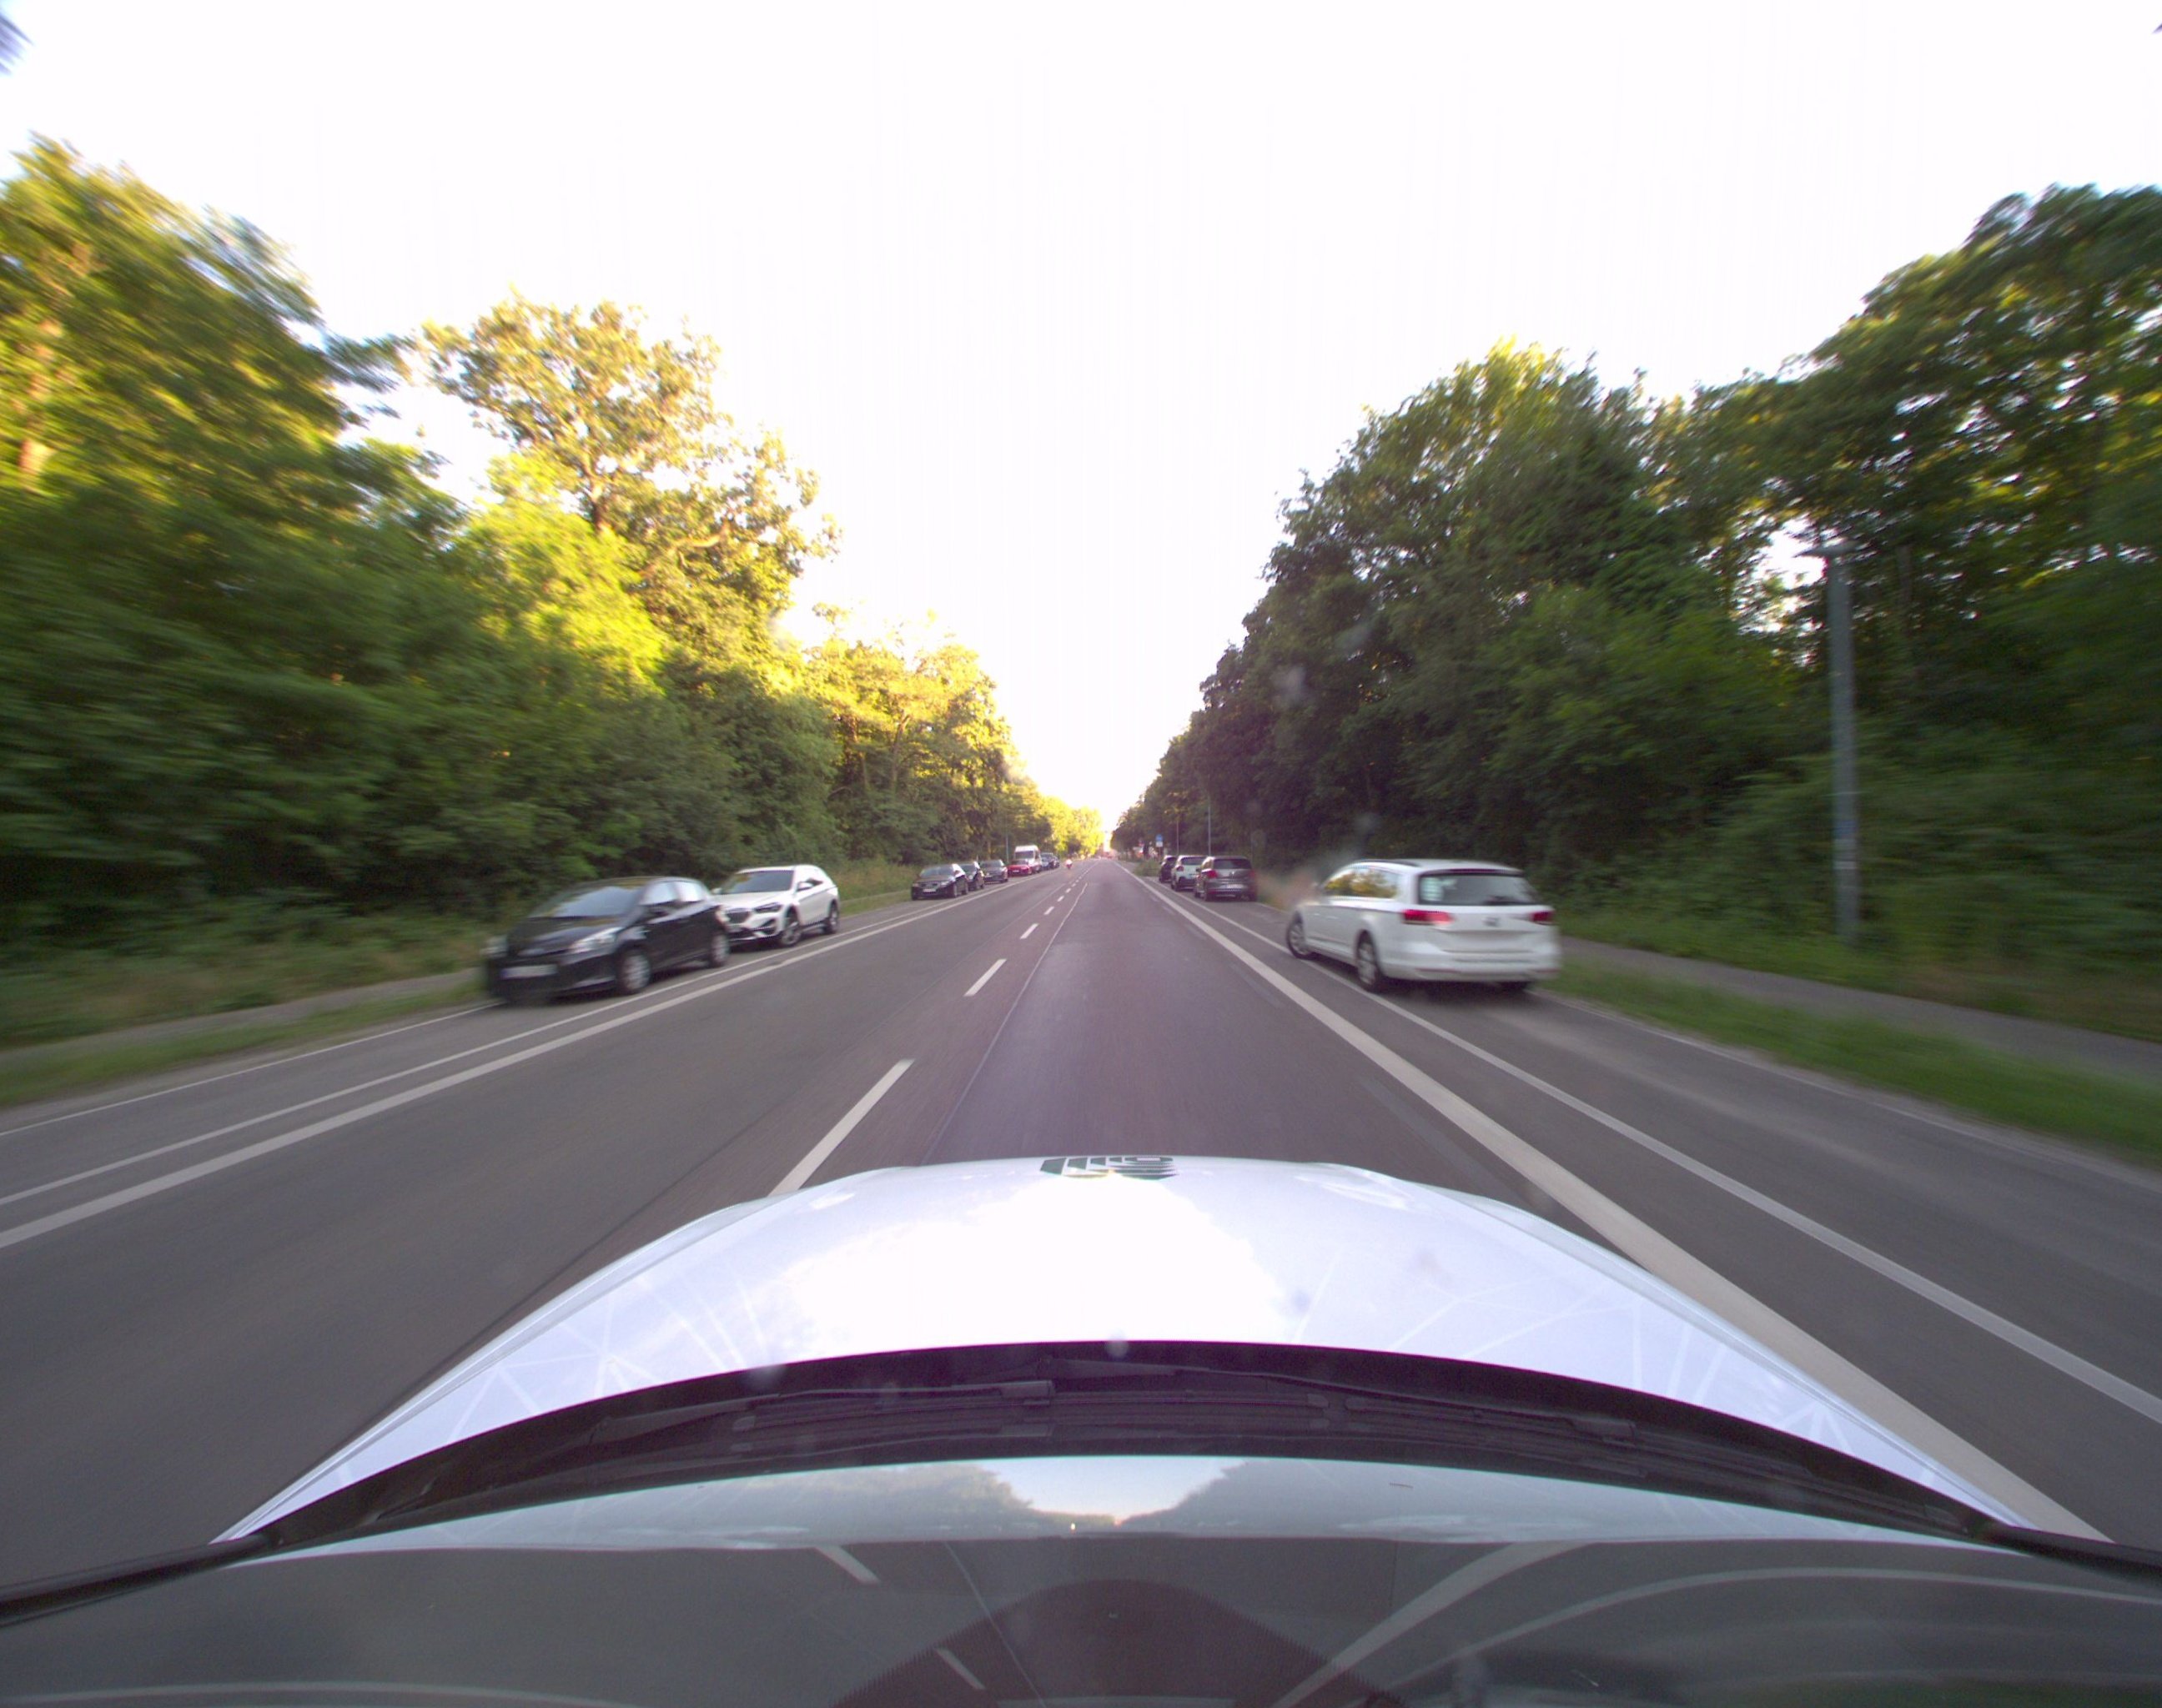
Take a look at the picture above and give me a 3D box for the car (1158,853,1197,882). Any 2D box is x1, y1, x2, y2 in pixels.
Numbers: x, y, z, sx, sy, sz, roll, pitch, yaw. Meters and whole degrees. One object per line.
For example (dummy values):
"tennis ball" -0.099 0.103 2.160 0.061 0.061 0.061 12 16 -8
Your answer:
"car" 5.173 0.705 44.015 1.704 1.444 4.124 -1 0 2

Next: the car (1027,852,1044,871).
"car" -4.831 0.792 86.832 1.682 1.858 4.385 -1 0 -1

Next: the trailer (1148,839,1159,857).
"trailer" 22.232 -1.763 251.296 3.008 5.462 7.940 -1 -1 3

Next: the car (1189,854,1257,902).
"car" 4.676 0.740 27.235 1.573 1.446 3.961 -2 0 1

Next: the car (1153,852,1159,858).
"car" 21.815 0.309 237.470 1.761 1.583 4.826 0 -1 6

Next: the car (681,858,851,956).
"car" -6.363 0.974 17.056 1.690 1.646 4.572 -3 0 0

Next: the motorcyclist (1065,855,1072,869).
"motorcyclist" -1.361 0.934 90.826 0.601 1.529 0.996 -2 0 4

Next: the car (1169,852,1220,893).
"car" 4.686 0.736 34.186 1.682 1.546 4.114 -2 0 2

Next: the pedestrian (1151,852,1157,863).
"pedestrian" 12.029 0.638 134.395 0.835 1.751 0.726 -1 -1 2

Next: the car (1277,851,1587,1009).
"car" 3.987 0.722 10.287 1.838 1.493 4.758 -1 0 -1

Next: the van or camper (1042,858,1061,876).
"van or camper" -3.490 1.532 98.414 1.996 2.018 5.460 -4 0 0

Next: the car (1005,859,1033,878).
"car" -5.058 1.164 66.948 1.709 1.430 4.391 -3 0 3

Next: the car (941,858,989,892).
"car" -5.729 1.021 40.456 1.705 1.508 3.657 -3 0 1

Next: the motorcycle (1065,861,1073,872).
"motorcycle" -1.338 1.405 90.788 0.608 1.126 1.964 -2 0 4

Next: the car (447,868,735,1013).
"car" -6.477 1.037 11.327 1.666 1.520 3.735 -3 0 0

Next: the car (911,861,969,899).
"car" -5.797 1.048 33.977 1.592 1.395 4.052 -3 0 1

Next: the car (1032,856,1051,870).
"car" -4.438 0.994 91.945 1.663 1.433 4.448 -3 0 2

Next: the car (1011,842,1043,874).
"car" -4.838 0.367 74.208 2.071 2.606 7.091 -4 0 2

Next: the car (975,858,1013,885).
"car" -5.316 1.026 50.295 1.840 1.462 4.228 -4 0 -1
